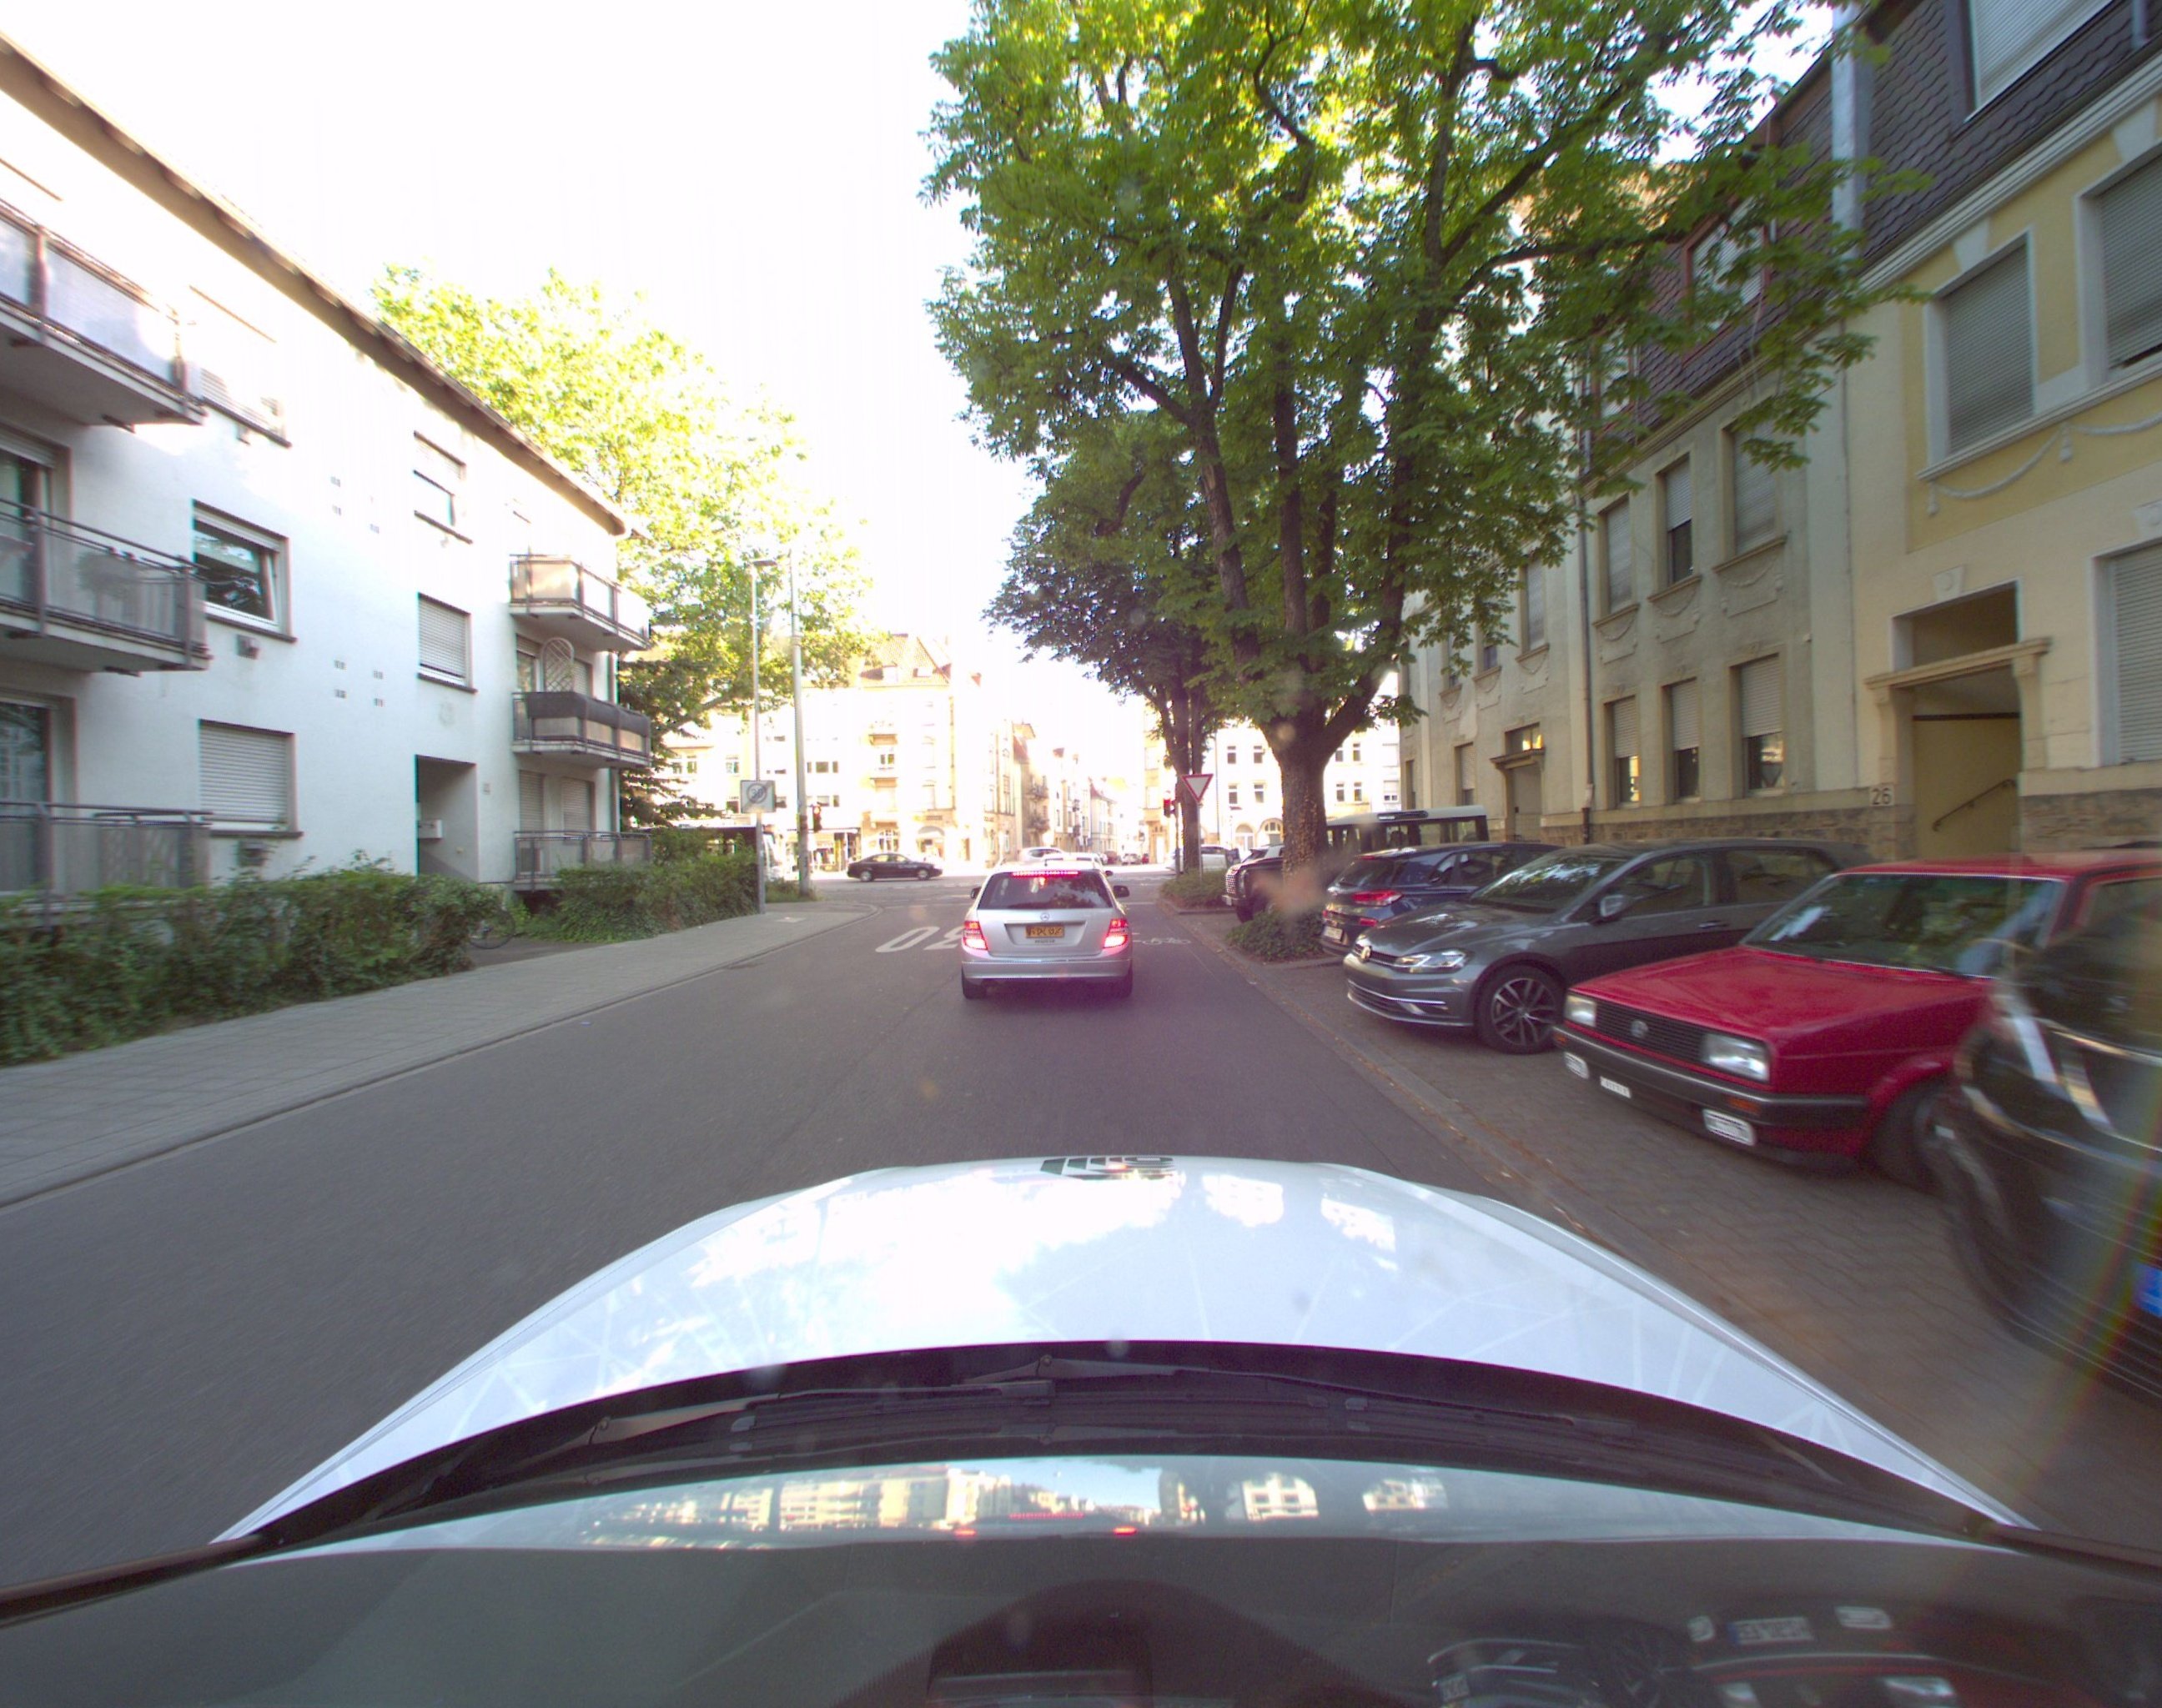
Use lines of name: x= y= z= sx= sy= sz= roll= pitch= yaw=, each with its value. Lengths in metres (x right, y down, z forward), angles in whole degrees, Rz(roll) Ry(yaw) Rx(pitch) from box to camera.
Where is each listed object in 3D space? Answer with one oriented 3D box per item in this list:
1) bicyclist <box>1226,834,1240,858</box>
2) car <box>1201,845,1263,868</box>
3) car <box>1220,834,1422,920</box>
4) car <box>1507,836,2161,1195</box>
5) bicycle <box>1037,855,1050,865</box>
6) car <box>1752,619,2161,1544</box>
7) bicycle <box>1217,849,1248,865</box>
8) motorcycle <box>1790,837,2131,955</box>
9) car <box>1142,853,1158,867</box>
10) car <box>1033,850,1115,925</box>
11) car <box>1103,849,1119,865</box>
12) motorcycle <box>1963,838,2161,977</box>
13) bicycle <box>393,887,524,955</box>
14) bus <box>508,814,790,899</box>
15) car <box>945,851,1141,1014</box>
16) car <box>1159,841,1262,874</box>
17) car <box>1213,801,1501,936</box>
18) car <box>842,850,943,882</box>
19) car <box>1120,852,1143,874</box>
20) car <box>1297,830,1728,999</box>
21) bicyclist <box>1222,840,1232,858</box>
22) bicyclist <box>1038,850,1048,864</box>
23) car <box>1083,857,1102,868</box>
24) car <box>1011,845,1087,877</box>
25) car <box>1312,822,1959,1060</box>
bicyclist: x=12.003 y=-0.627 z=64.413 sx=0.889 sy=1.859 sz=0.636 roll=-1 pitch=0 yaw=-3
car: x=8.595 y=0.158 z=46.545 sx=3.219 sy=1.181 sz=1.317 roll=-2 pitch=0 yaw=-7
car: x=5.001 y=0.458 z=17.296 sx=3.714 sy=1.570 sz=1.707 roll=-3 pitch=0 yaw=-3
car: x=4.714 y=0.637 z=4.273 sx=4.127 sy=1.315 sz=1.628 roll=-3 pitch=0 yaw=-4
bicycle: x=-3.605 y=0.589 z=77.827 sx=0.765 sy=0.934 sz=1.947 roll=-1 pitch=1 yaw=13
car: x=4.531 y=0.364 z=1.738 sx=4.739 sy=1.874 sz=1.895 roll=-3 pitch=0 yaw=-4
bicycle: x=11.979 y=0.240 z=64.409 sx=2.251 sy=1.246 sz=0.636 roll=-2 pitch=0 yaw=-4
motorcycle: x=9.550 y=0.380 z=9.118 sx=0.691 sy=1.073 sz=2.870 roll=-4 pitch=1 yaw=1
car: x=9.006 y=0.734 z=106.104 sx=1.824 sy=1.744 sz=4.011 roll=-1 pitch=1 yaw=10
car: x=-0.148 y=0.653 z=18.330 sx=1.614 sy=1.446 sz=4.343 roll=-1 pitch=0 yaw=0
car: x=4.496 y=0.431 z=121.593 sx=1.776 sy=2.204 sz=4.011 roll=-1 pitch=1 yaw=10
motorcycle: x=9.248 y=0.429 z=6.858 sx=0.955 sy=1.073 sz=2.481 roll=-4 pitch=1 yaw=1
bicycle: x=-9.966 y=1.047 z=13.089 sx=1.630 sy=1.008 sz=0.511 roll=1 pitch=-1 yaw=-40
bus: x=-18.618 y=0.056 z=35.766 sx=10.442 sy=3.201 sz=2.905 roll=-2 pitch=0 yaw=-7
car: x=-0.355 y=0.713 z=9.738 sx=1.771 sy=1.452 sz=4.547 roll=-1 pitch=0 yaw=0
car: x=6.290 y=0.165 z=39.823 sx=4.659 sy=1.448 sz=1.735 roll=-2 pitch=0 yaw=-8
car: x=4.738 y=0.237 z=14.376 sx=4.454 sy=2.036 sz=1.699 roll=-3 pitch=0 yaw=-3
car: x=-9.338 y=0.575 z=40.552 sx=4.685 sy=1.428 sz=1.715 roll=-2 pitch=0 yaw=-7
car: x=5.589 y=0.948 z=90.117 sx=2.018 sy=2.279 sz=4.011 roll=-1 pitch=1 yaw=10
car: x=4.434 y=0.577 z=8.757 sx=3.714 sy=1.452 sz=1.707 roll=-3 pitch=0 yaw=-3
bicyclist: x=11.314 y=-0.386 z=63.024 sx=0.642 sy=1.426 sz=0.636 roll=-1 pitch=0 yaw=-4
bicyclist: x=-3.610 y=0.295 z=77.827 sx=0.765 sy=1.290 sz=0.755 roll=-1 pitch=0 yaw=12
car: x=1.560 y=1.107 z=106.805 sx=1.824 sy=1.402 sz=4.011 roll=-1 pitch=1 yaw=10
car: x=-1.651 y=0.353 z=41.382 sx=3.683 sy=1.449 sz=1.512 roll=-2 pitch=0 yaw=-7
car: x=4.152 y=0.594 z=6.543 sx=4.043 sy=1.452 sz=1.721 roll=-3 pitch=0 yaw=-3
